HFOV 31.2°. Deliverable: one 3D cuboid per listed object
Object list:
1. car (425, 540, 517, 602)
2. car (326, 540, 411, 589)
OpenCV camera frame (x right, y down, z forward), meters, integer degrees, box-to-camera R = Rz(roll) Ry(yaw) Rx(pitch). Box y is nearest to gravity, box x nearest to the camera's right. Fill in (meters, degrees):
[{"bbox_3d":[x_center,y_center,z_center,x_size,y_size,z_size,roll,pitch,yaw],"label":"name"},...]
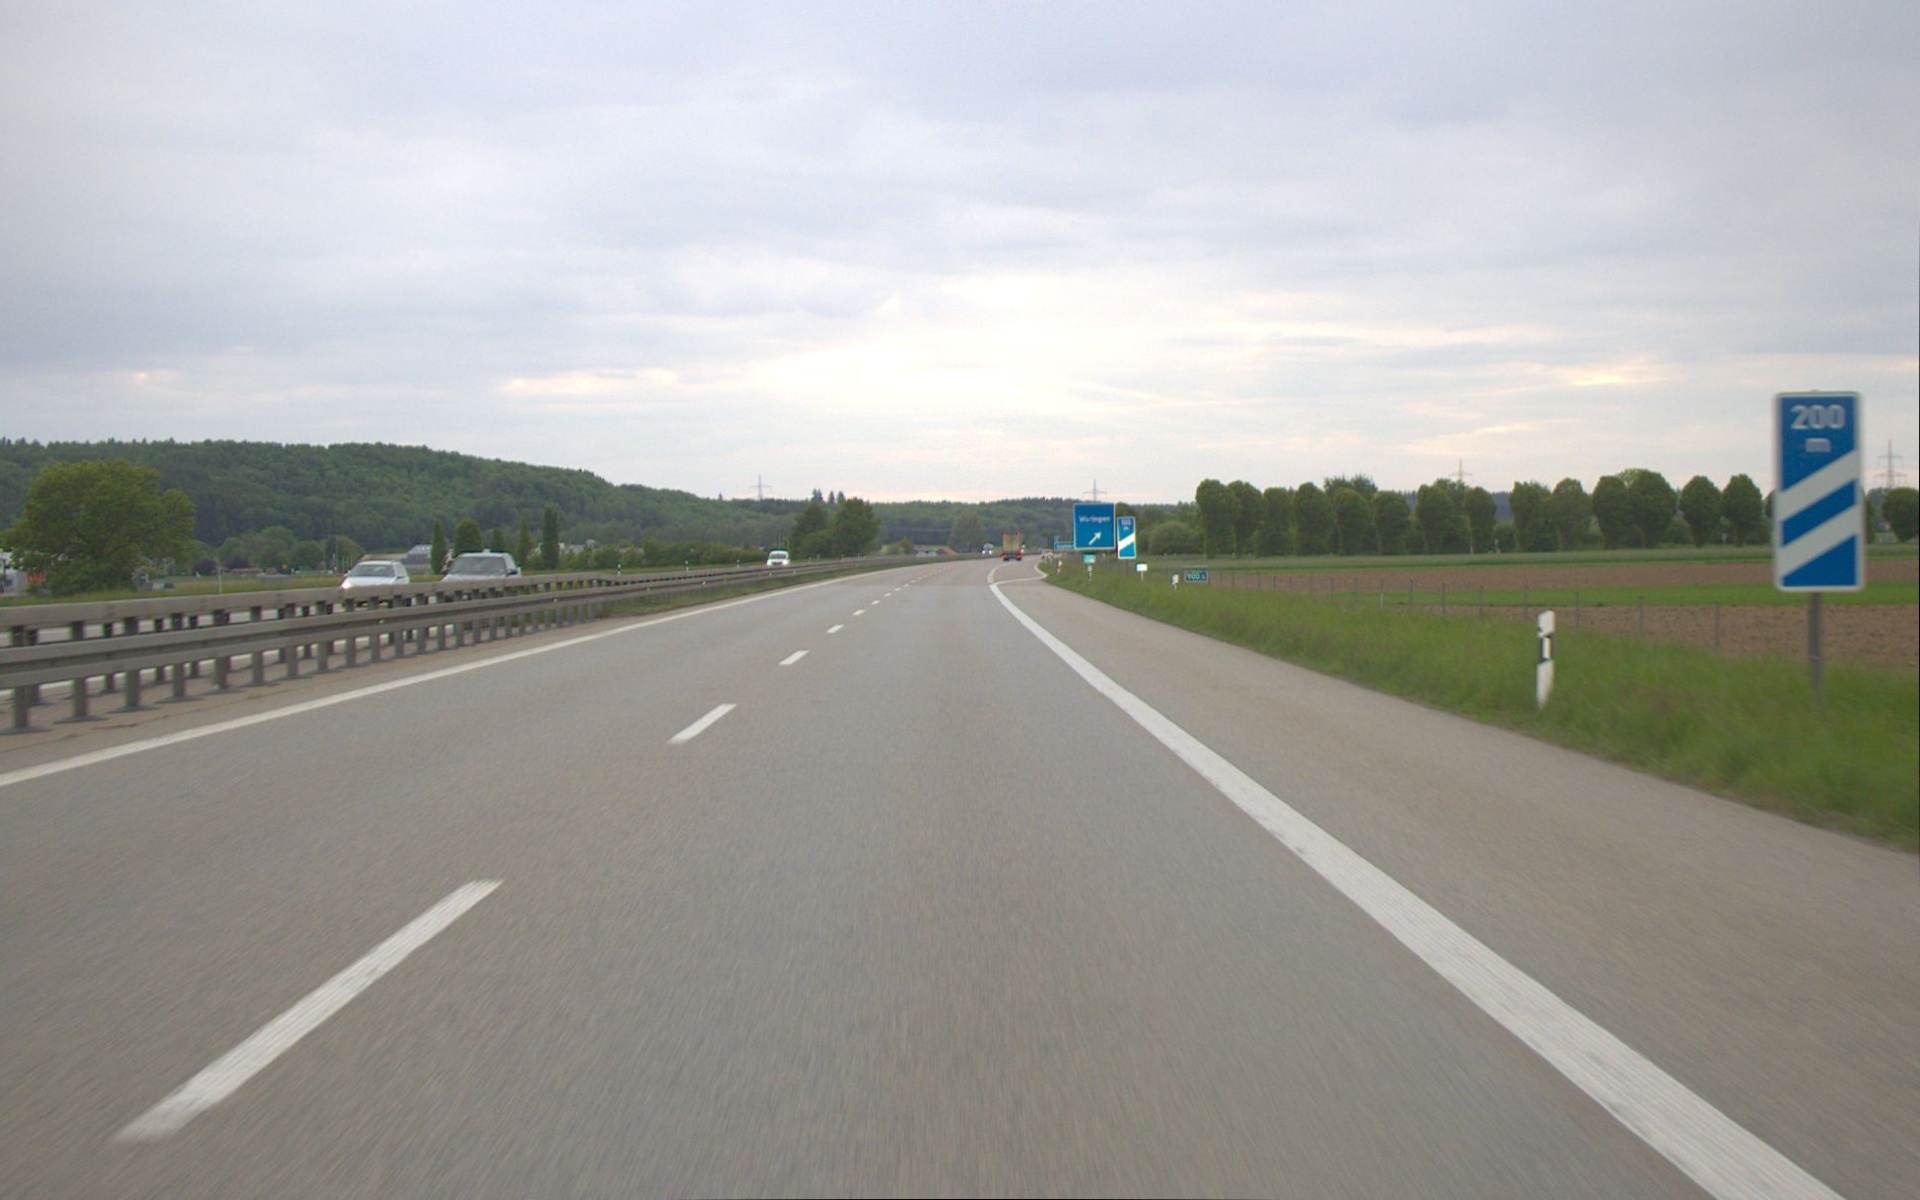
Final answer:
[{"bbox_3d":[-13.778,-0.837,97.101,1.993,1.695,4.302,1,1,0],"label":"car"},{"bbox_3d":[-18.836,-1.141,109.626,1.993,1.491,4.763,-1,1,-1],"label":"car"}]
